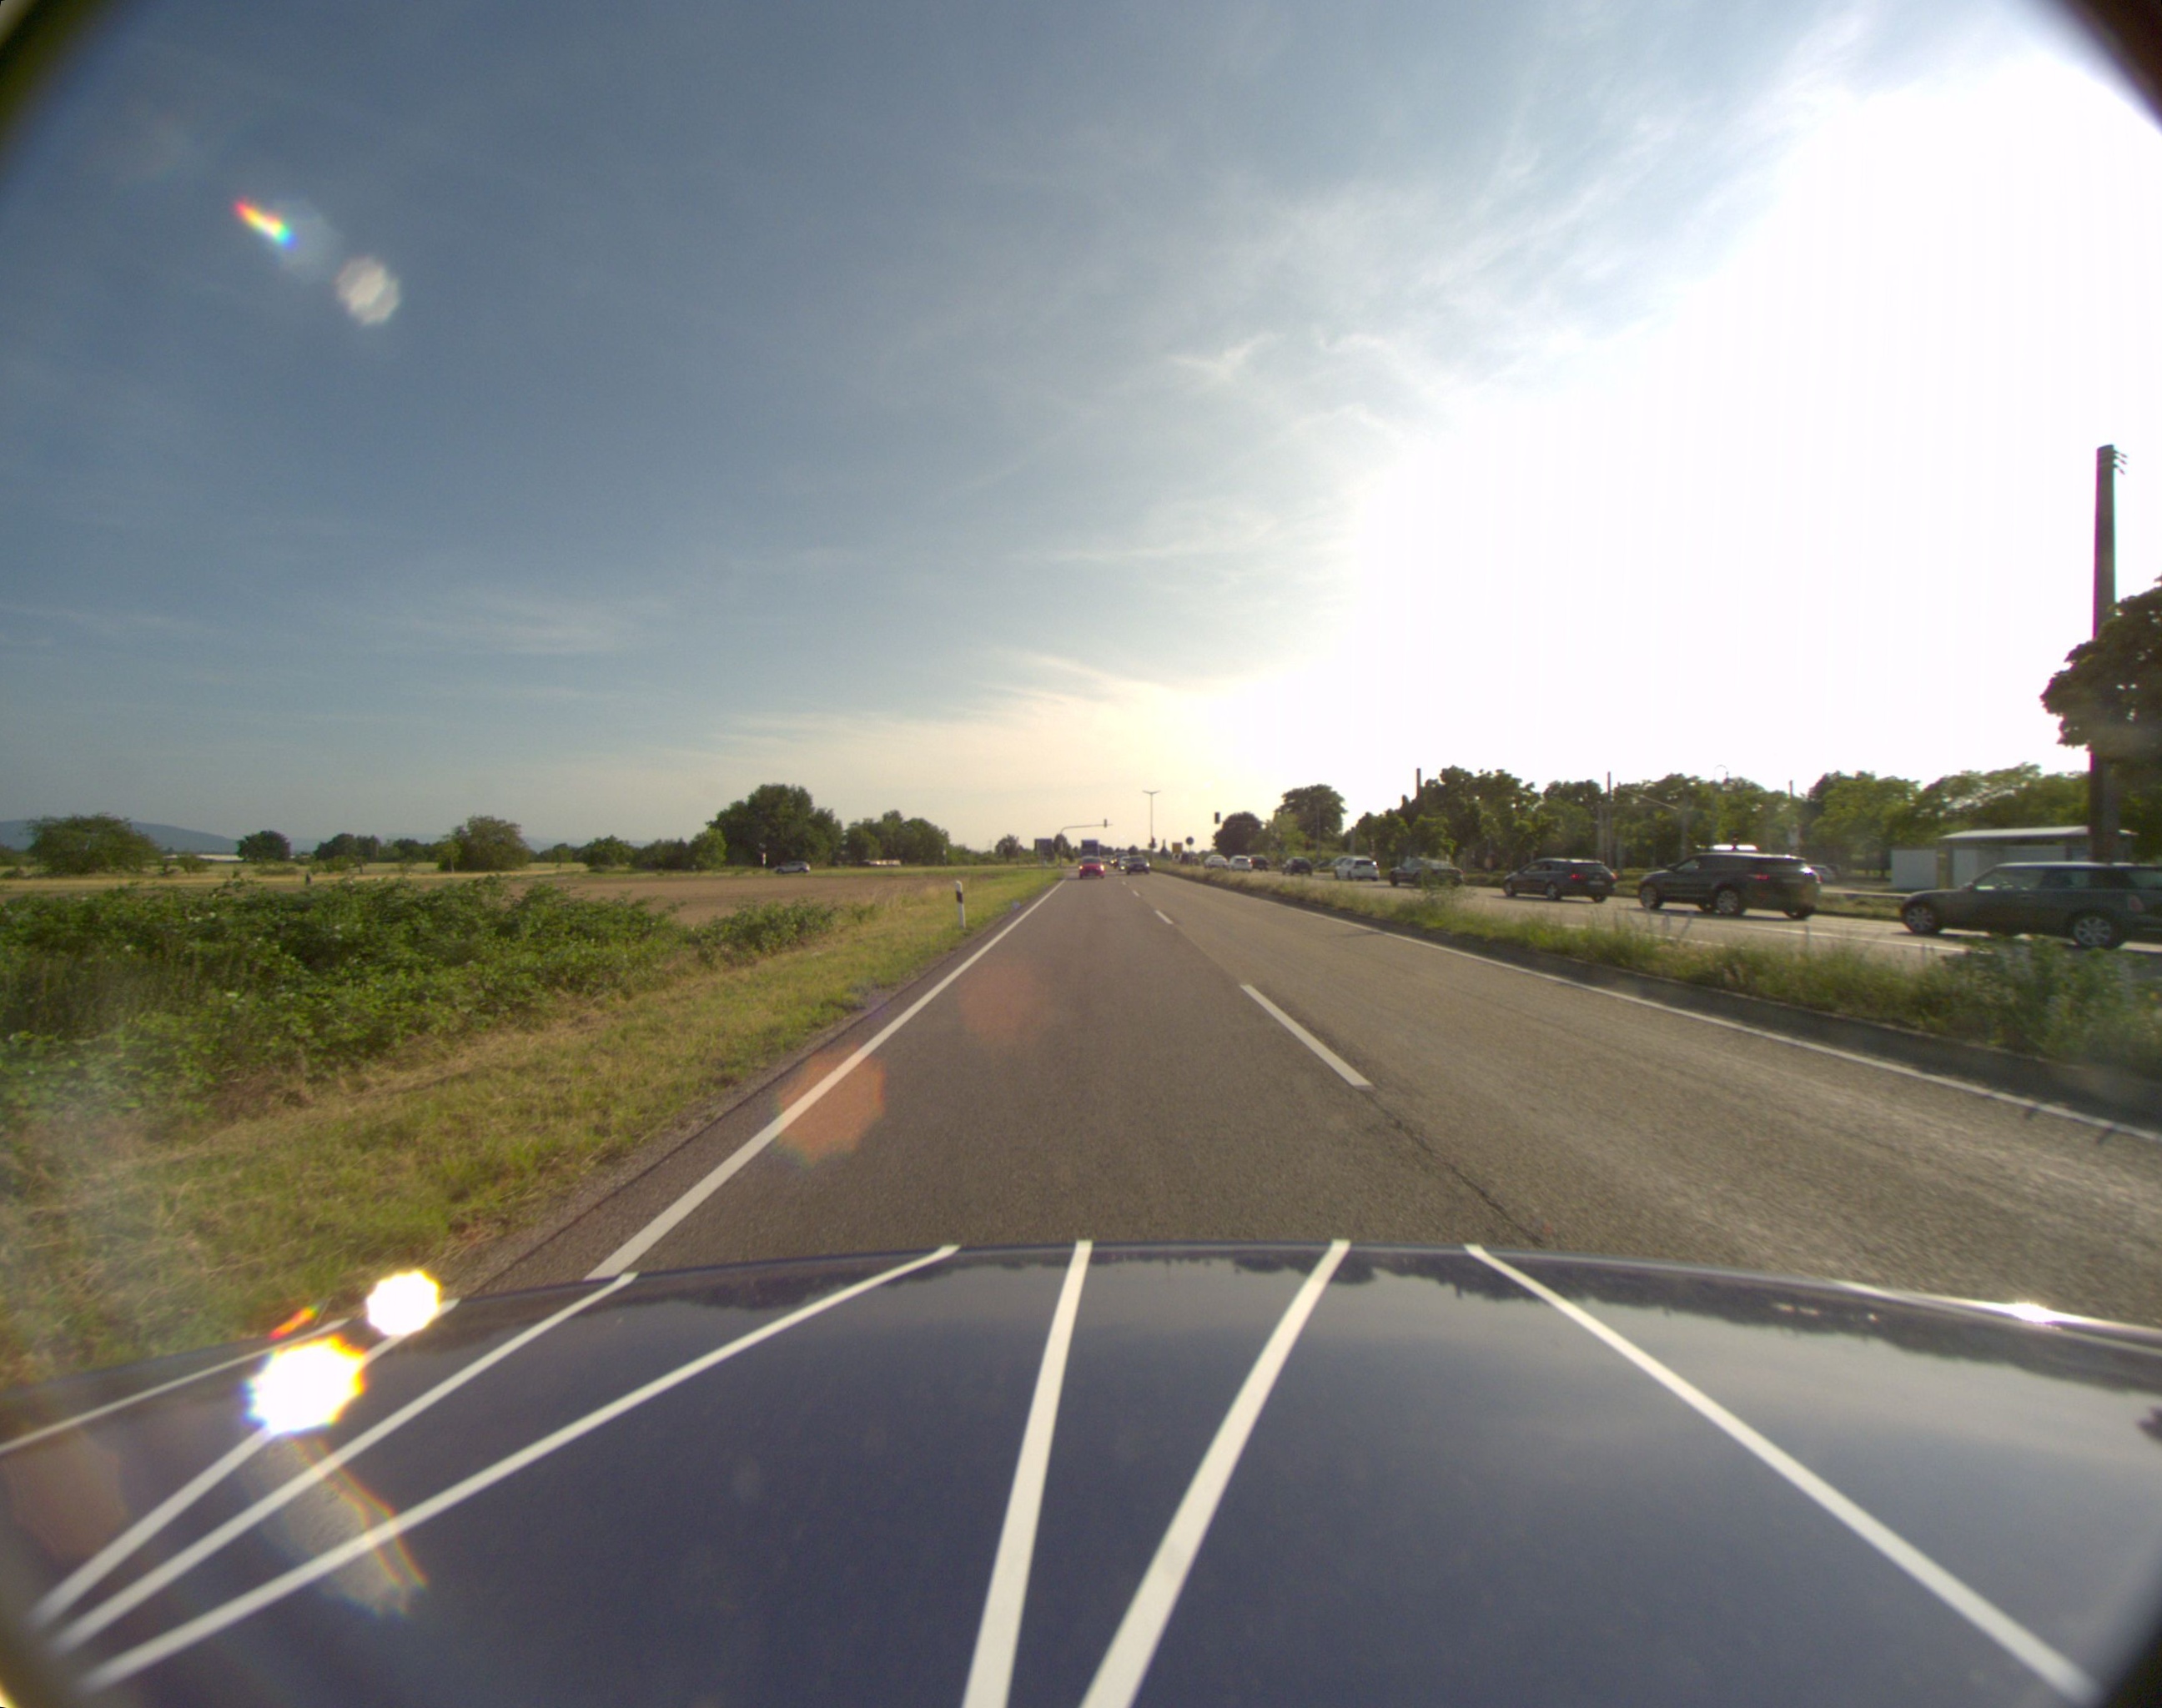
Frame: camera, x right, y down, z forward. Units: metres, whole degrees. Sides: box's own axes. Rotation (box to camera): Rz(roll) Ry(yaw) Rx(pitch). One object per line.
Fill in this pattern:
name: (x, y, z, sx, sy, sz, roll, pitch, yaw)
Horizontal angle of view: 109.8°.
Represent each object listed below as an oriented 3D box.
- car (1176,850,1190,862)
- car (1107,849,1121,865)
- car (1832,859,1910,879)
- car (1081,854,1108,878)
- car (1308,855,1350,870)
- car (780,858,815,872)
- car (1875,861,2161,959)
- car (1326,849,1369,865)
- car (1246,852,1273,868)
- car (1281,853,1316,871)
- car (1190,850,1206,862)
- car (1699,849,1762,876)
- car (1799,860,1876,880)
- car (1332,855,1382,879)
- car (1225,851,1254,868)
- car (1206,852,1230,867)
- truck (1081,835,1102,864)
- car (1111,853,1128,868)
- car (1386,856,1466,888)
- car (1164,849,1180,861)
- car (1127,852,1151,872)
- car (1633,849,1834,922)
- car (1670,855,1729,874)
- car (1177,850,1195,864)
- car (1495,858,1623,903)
car: (18.121, 0.294, 135.219, 1.998, 1.961, 5.079, 2, 0, 1)
car: (4.032, 0.373, 92.747, 1.636, 1.833, 4.000, -2, 0, 1)
car: (64.163, 1.203, 61.796, 2.003, 1.529, 3.991, -2, 0, -28)
car: (0.928, 0.776, 51.673, 1.735, 1.467, 4.000, -2, 0, 1)
car: (33.639, 1.179, 103.176, 4.843, 1.876, 2.253, -2, 0, -4)
car: (-37.030, 1.378, 99.194, 4.002, 1.641, 1.998, -2, 0, -14)
car: (16.720, 0.874, 13.287, 1.664, 1.423, 3.805, 1, 0, 1)
car: (34.872, 0.412, 99.463, 4.843, 1.876, 2.253, -2, 0, -4)
car: (18.377, 0.623, 78.443, 1.801, 1.580, 4.000, 1, 0, 1)
car: (17.461, 0.624, 61.205, 1.664, 1.373, 4.000, 1, 0, 1)
car: (19.403, 0.301, 125.957, 1.998, 1.961, 5.079, 2, 0, 1)
car: (48.092, 0.627, 56.241, 3.678, 1.866, 1.832, -2, 0, -17)
car: (61.164, 1.291, 61.473, 2.003, 1.529, 3.991, -2, 0, -28)
car: (17.649, 0.811, 48.788, 1.664, 1.373, 4.468, 1, 0, 1)
car: (14.537, 0.519, 69.884, 1.823, 1.461, 4.294, 1, 0, 1)
car: (14.391, 0.586, 79.940, 1.756, 1.499, 4.583, 1, 0, 1)
truck: (1.586, -0.678, 110.678, 2.849, 3.896, 10.104, -2, 0, 1)
car: (3.886, 0.641, 76.859, 1.636, 1.442, 4.000, -2, 0, 1)
car: (16.622, 0.834, 36.903, 1.664, 1.407, 4.975, 1, 0, 1)
car: (13.907, 0.157, 116.568, 1.998, 1.818, 5.079, 2, 0, 1)
car: (4.607, 0.644, 60.668, 1.636, 1.500, 4.000, -2, 0, 1)
car: (16.914, 0.741, 20.031, 1.664, 1.677, 4.229, 1, 0, 1)
car: (49.368, 0.827, 60.688, 4.003, 1.412, 1.831, -2, 0, -20)
car: (14.465, 0.409, 104.714, 1.862, 1.735, 4.529, 1, 0, 1)
car: (16.627, 0.877, 26.747, 1.664, 1.373, 4.541, 1, 0, 1)
